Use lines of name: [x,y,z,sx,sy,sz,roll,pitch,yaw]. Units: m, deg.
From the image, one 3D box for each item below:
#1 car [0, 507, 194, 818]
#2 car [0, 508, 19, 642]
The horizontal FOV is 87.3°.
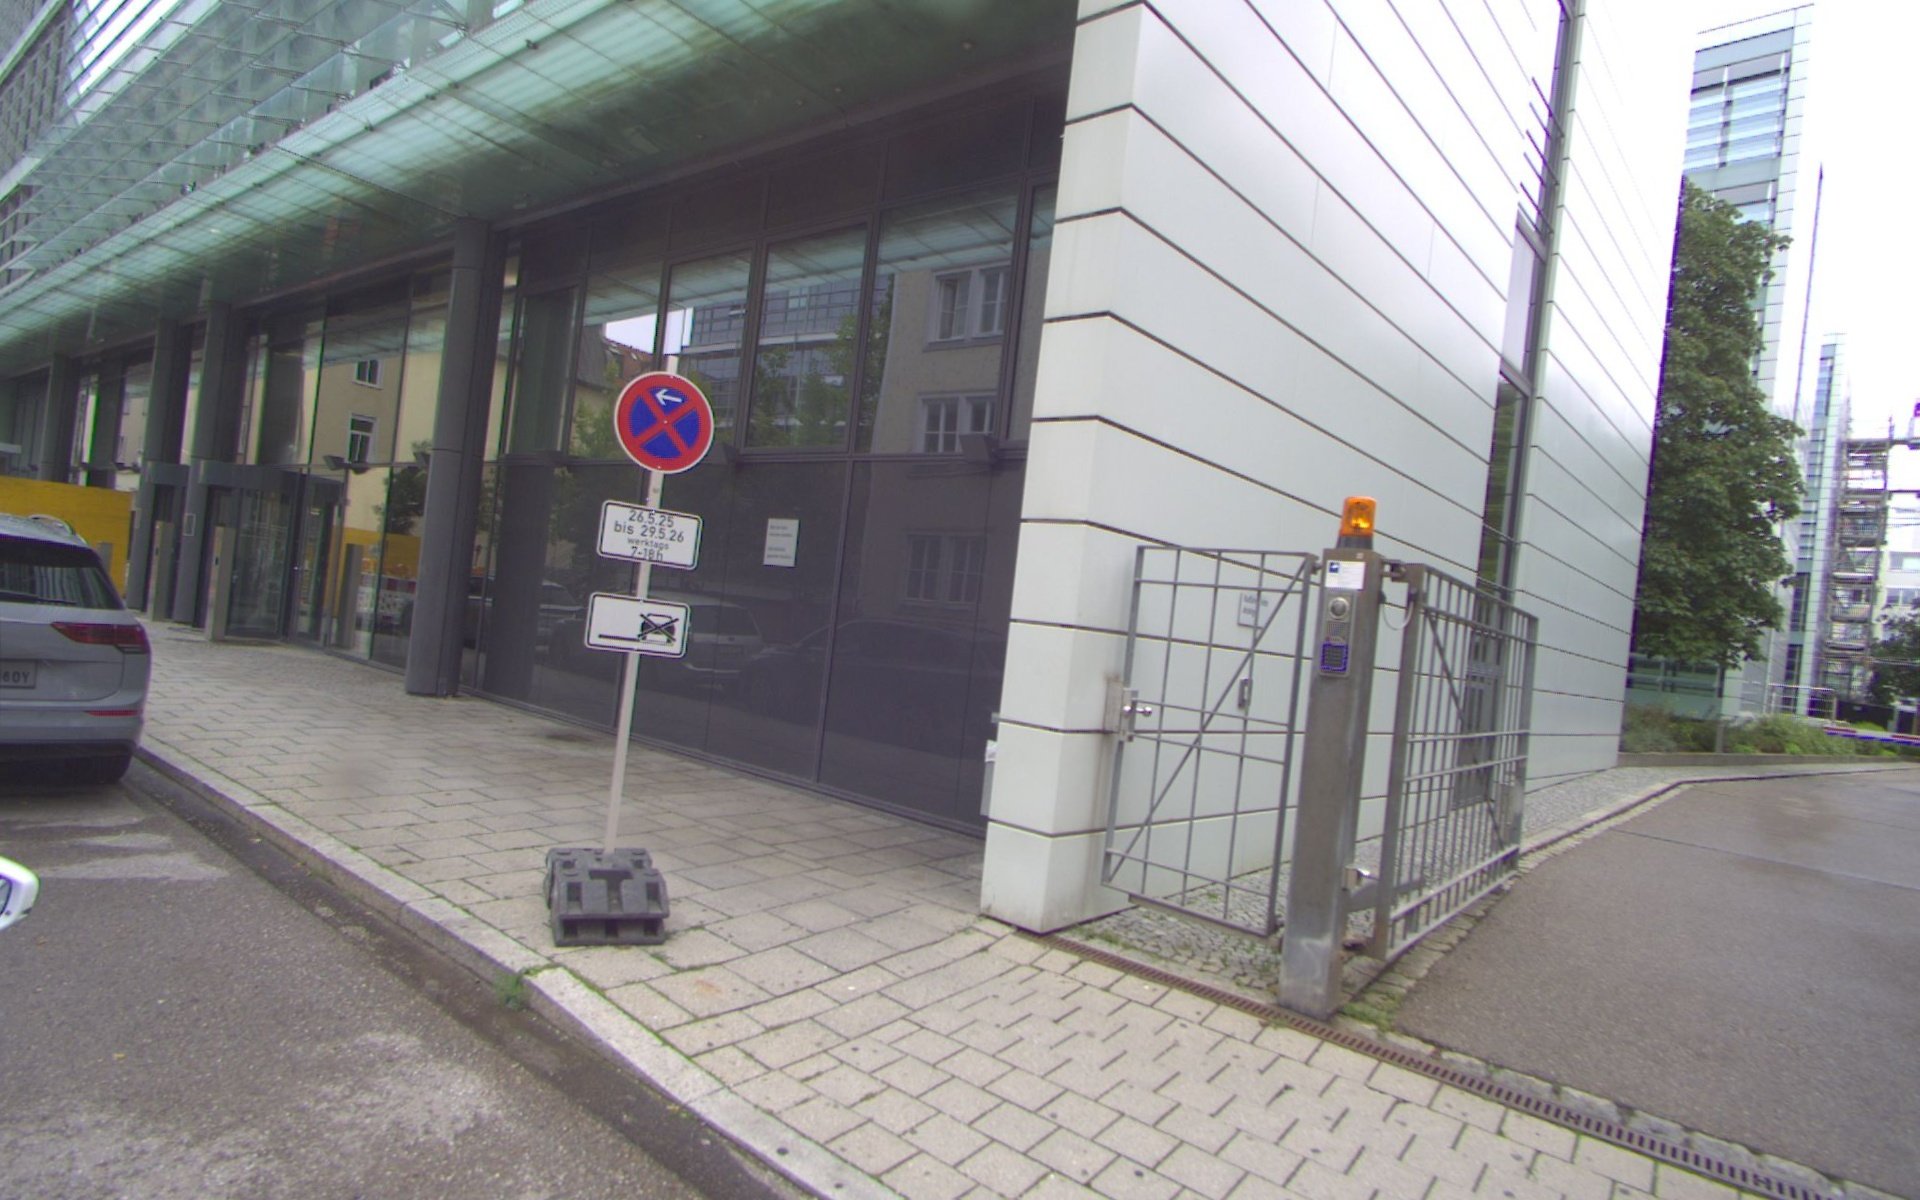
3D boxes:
car: [-6.245,0.121,5.838,4.264,1.449,1.708,6,-1,37]
car: [-10.317,-0.293,9.071,4.170,1.484,1.710,6,-3,35]
